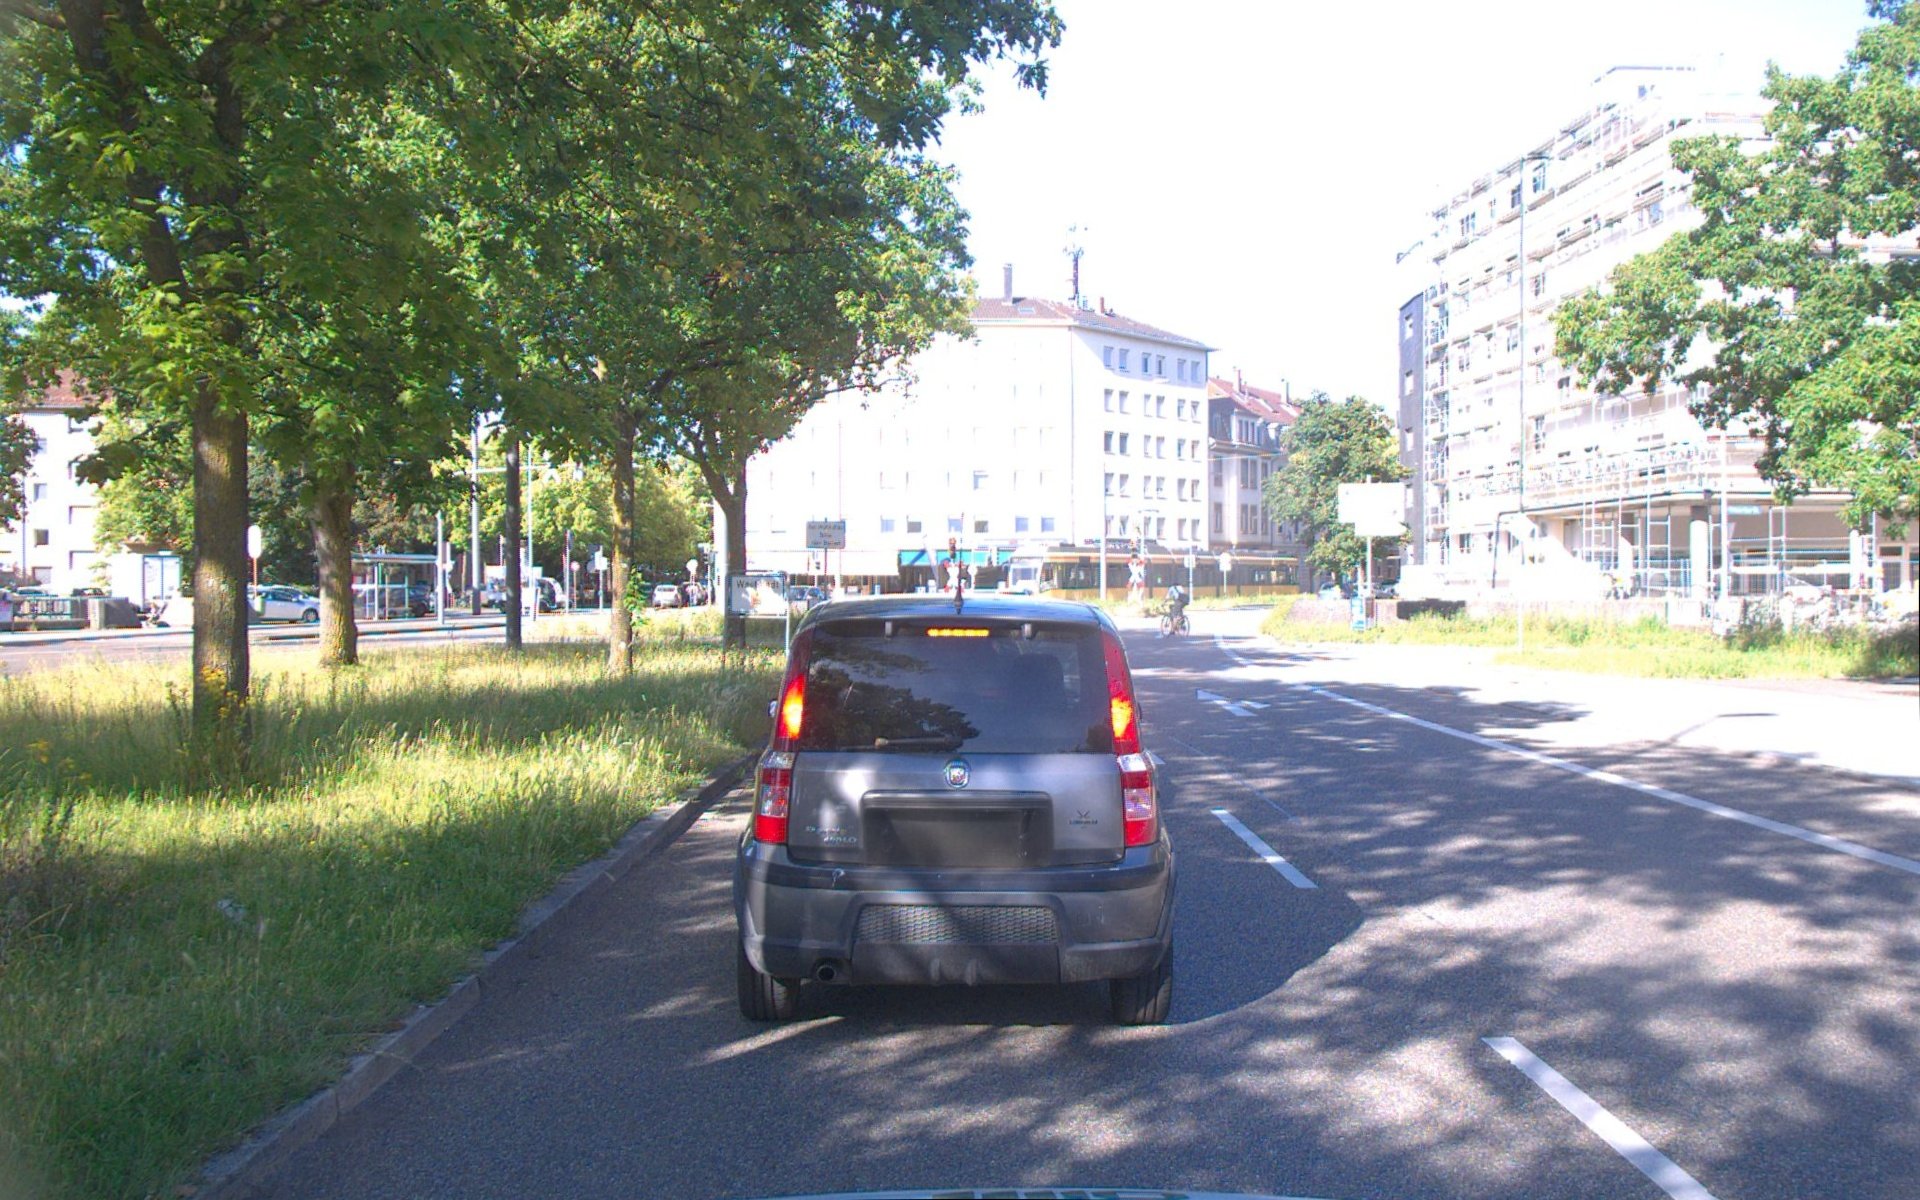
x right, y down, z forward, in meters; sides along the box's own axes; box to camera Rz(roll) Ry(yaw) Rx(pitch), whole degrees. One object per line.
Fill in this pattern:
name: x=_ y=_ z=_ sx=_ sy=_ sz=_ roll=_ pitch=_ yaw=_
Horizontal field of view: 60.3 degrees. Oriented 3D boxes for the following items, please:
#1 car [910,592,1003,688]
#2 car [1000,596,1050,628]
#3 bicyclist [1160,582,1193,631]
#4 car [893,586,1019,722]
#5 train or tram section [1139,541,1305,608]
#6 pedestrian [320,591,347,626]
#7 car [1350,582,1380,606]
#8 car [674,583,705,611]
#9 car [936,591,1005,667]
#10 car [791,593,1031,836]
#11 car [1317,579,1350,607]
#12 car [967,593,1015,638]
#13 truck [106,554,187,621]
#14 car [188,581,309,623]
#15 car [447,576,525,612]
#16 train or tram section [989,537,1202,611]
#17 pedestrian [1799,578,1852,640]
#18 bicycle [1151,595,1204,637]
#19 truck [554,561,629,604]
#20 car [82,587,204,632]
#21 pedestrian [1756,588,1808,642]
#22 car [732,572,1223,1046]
car: x=-0.081 y=0.608 z=27.231 sx=1.434 sy=1.449 sz=3.381 roll=0 pitch=1 yaw=-1
car: x=2.282 y=0.401 z=57.697 sx=1.118 sy=1.083 sz=2.723 roll=0 pitch=1 yaw=17
bicyclist: x=6.532 y=0.204 z=49.923 sx=0.729 sy=1.463 sz=0.842 roll=1 pitch=-1 yaw=-15
car: x=-0.072 y=0.602 z=20.667 sx=1.434 sy=1.534 sz=3.504 roll=0 pitch=1 yaw=-1
train or tram section: x=17.004 y=-1.589 z=104.644 sx=3.234 sy=3.836 sz=20.770 roll=0 pitch=1 yaw=30
pedestrian: x=-29.241 y=0.399 z=77.204 sx=0.904 sy=1.636 sz=0.794 roll=0 pitch=0 yaw=38
car: x=23.110 y=-0.337 z=94.376 sx=1.495 sy=1.337 sz=3.289 roll=0 pitch=1 yaw=17
car: x=-20.161 y=-0.243 z=123.278 sx=1.954 sy=2.049 sz=3.996 roll=0 pitch=1 yaw=-5
car: x=0.176 y=0.554 z=33.856 sx=1.328 sy=1.475 sz=3.265 roll=0 pitch=0 yaw=-1
car: x=-0.318 y=0.679 z=11.623 sx=1.434 sy=1.425 sz=3.393 roll=0 pitch=1 yaw=-1
car: x=20.500 y=-0.393 z=90.709 sx=1.646 sy=1.475 sz=3.574 roll=0 pitch=1 yaw=15
car: x=0.916 y=0.442 z=49.601 sx=1.328 sy=1.304 sz=2.875 roll=0 pitch=1 yaw=-1
truck: x=-35.747 y=-0.553 z=72.682 sx=3.932 sy=2.854 sz=1.987 roll=0 pitch=1 yaw=44
car: x=-29.958 y=0.048 z=69.776 sx=1.961 sy=1.713 sz=4.302 roll=0 pitch=1 yaw=38
car: x=-27.981 y=-0.360 z=97.688 sx=4.093 sy=2.049 sz=1.930 roll=0 pitch=0 yaw=-3
train or tram section: x=7.729 y=-1.371 z=88.639 sx=3.235 sy=3.574 sz=19.343 roll=0 pitch=1 yaw=31
pedestrian: x=23.929 y=0.241 z=45.714 sx=0.877 sy=1.682 sz=0.980 roll=0 pitch=0 yaw=-25
bicycle: x=6.549 y=0.471 z=49.984 sx=0.696 sy=1.219 sz=2.510 roll=1 pitch=0 yaw=-15
truck: x=-28.366 y=-1.354 z=127.361 sx=5.371 sy=3.224 sz=2.341 roll=0 pitch=0 yaw=28
car: x=-32.785 y=0.341 z=66.438 sx=1.961 sy=1.713 sz=3.983 roll=0 pitch=1 yaw=38
pedestrian: x=22.734 y=0.400 z=45.752 sx=0.877 sy=1.472 sz=0.962 roll=0 pitch=0 yaw=-15
car: x=0.032 y=0.658 z=7.407 sx=1.595 sy=1.534 sz=3.999 roll=0 pitch=1 yaw=-1
